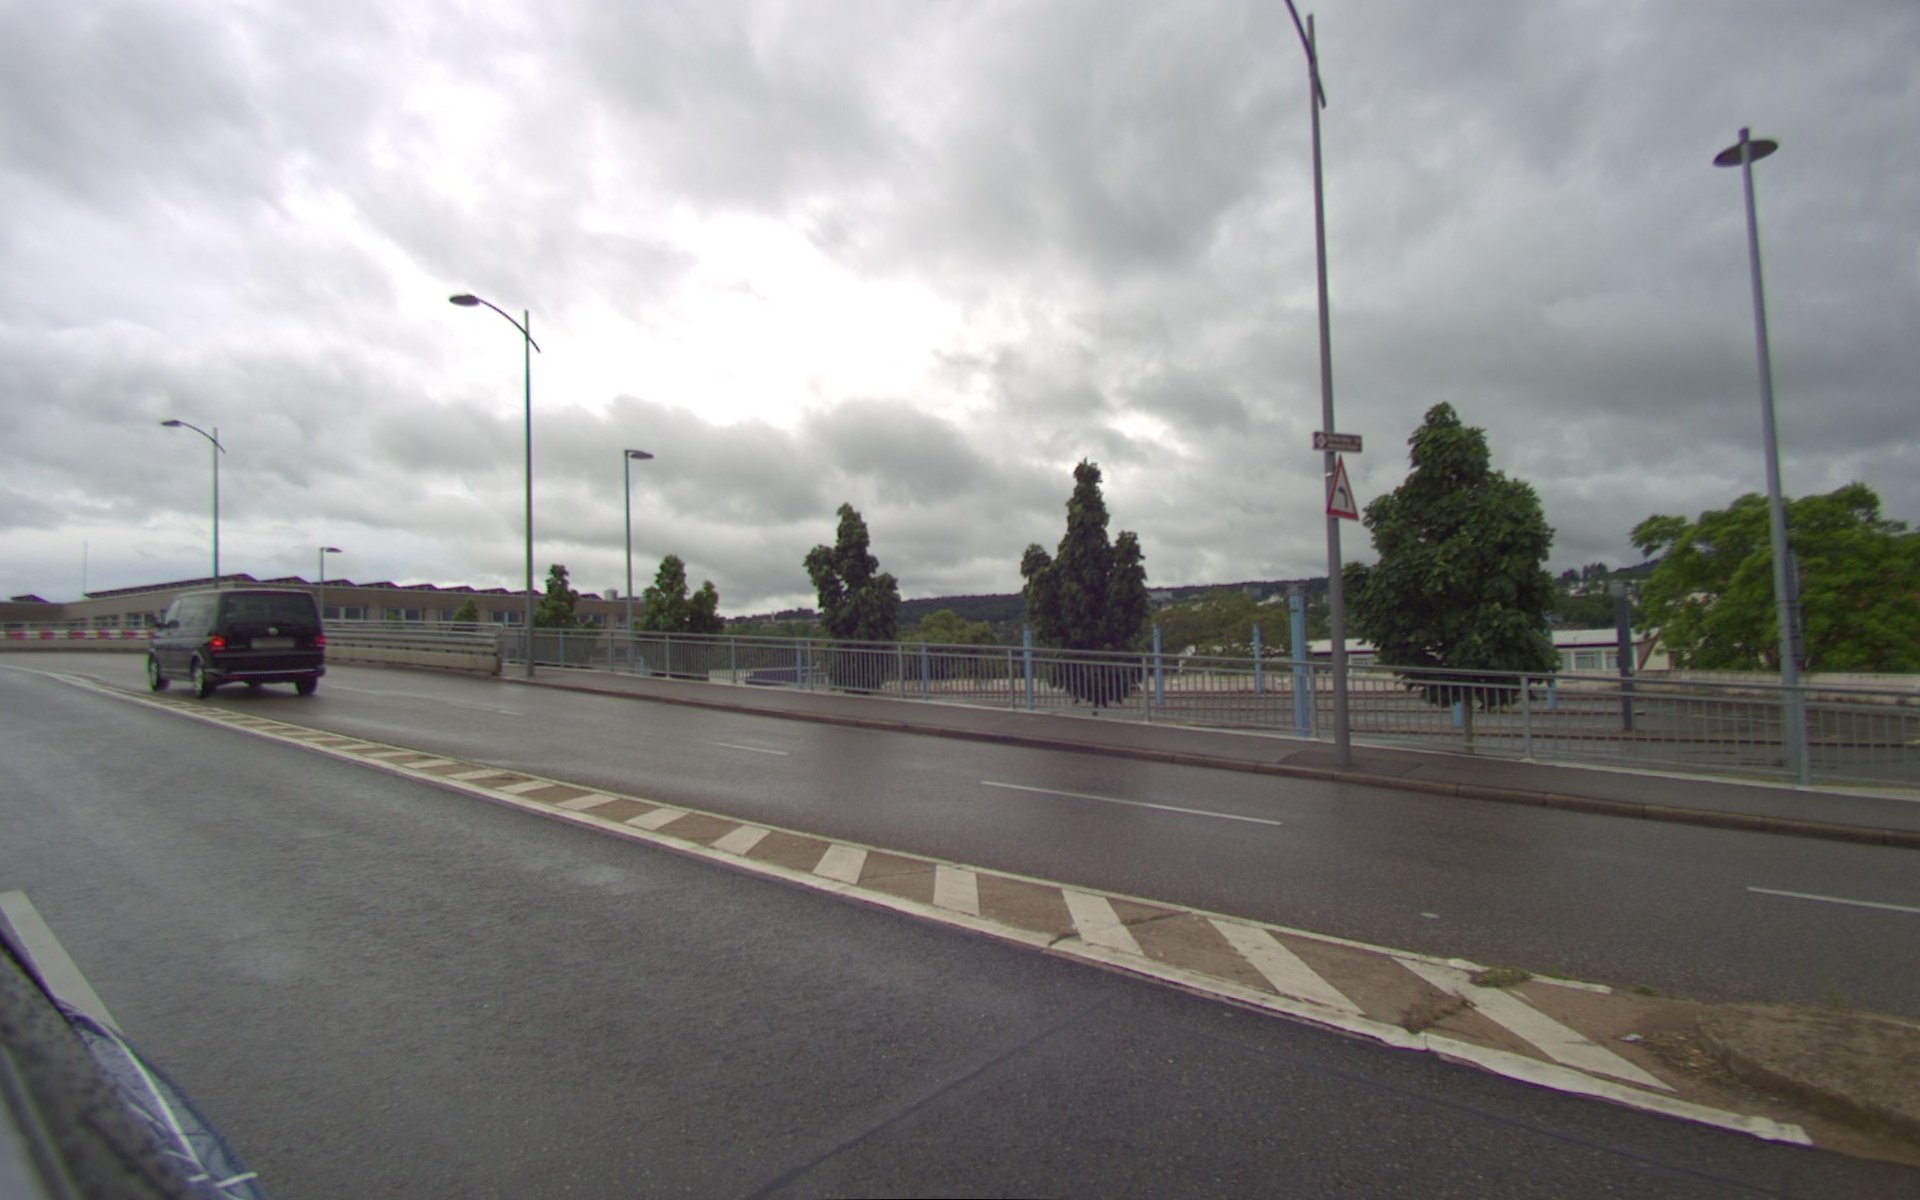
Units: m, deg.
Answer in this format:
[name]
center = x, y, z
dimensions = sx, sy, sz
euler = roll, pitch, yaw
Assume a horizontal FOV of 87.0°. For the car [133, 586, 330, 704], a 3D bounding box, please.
[car]
center = -13.969, 0.805, 19.308
dimensions = 4.680, 1.983, 1.827
euler = 0, -2, 39
